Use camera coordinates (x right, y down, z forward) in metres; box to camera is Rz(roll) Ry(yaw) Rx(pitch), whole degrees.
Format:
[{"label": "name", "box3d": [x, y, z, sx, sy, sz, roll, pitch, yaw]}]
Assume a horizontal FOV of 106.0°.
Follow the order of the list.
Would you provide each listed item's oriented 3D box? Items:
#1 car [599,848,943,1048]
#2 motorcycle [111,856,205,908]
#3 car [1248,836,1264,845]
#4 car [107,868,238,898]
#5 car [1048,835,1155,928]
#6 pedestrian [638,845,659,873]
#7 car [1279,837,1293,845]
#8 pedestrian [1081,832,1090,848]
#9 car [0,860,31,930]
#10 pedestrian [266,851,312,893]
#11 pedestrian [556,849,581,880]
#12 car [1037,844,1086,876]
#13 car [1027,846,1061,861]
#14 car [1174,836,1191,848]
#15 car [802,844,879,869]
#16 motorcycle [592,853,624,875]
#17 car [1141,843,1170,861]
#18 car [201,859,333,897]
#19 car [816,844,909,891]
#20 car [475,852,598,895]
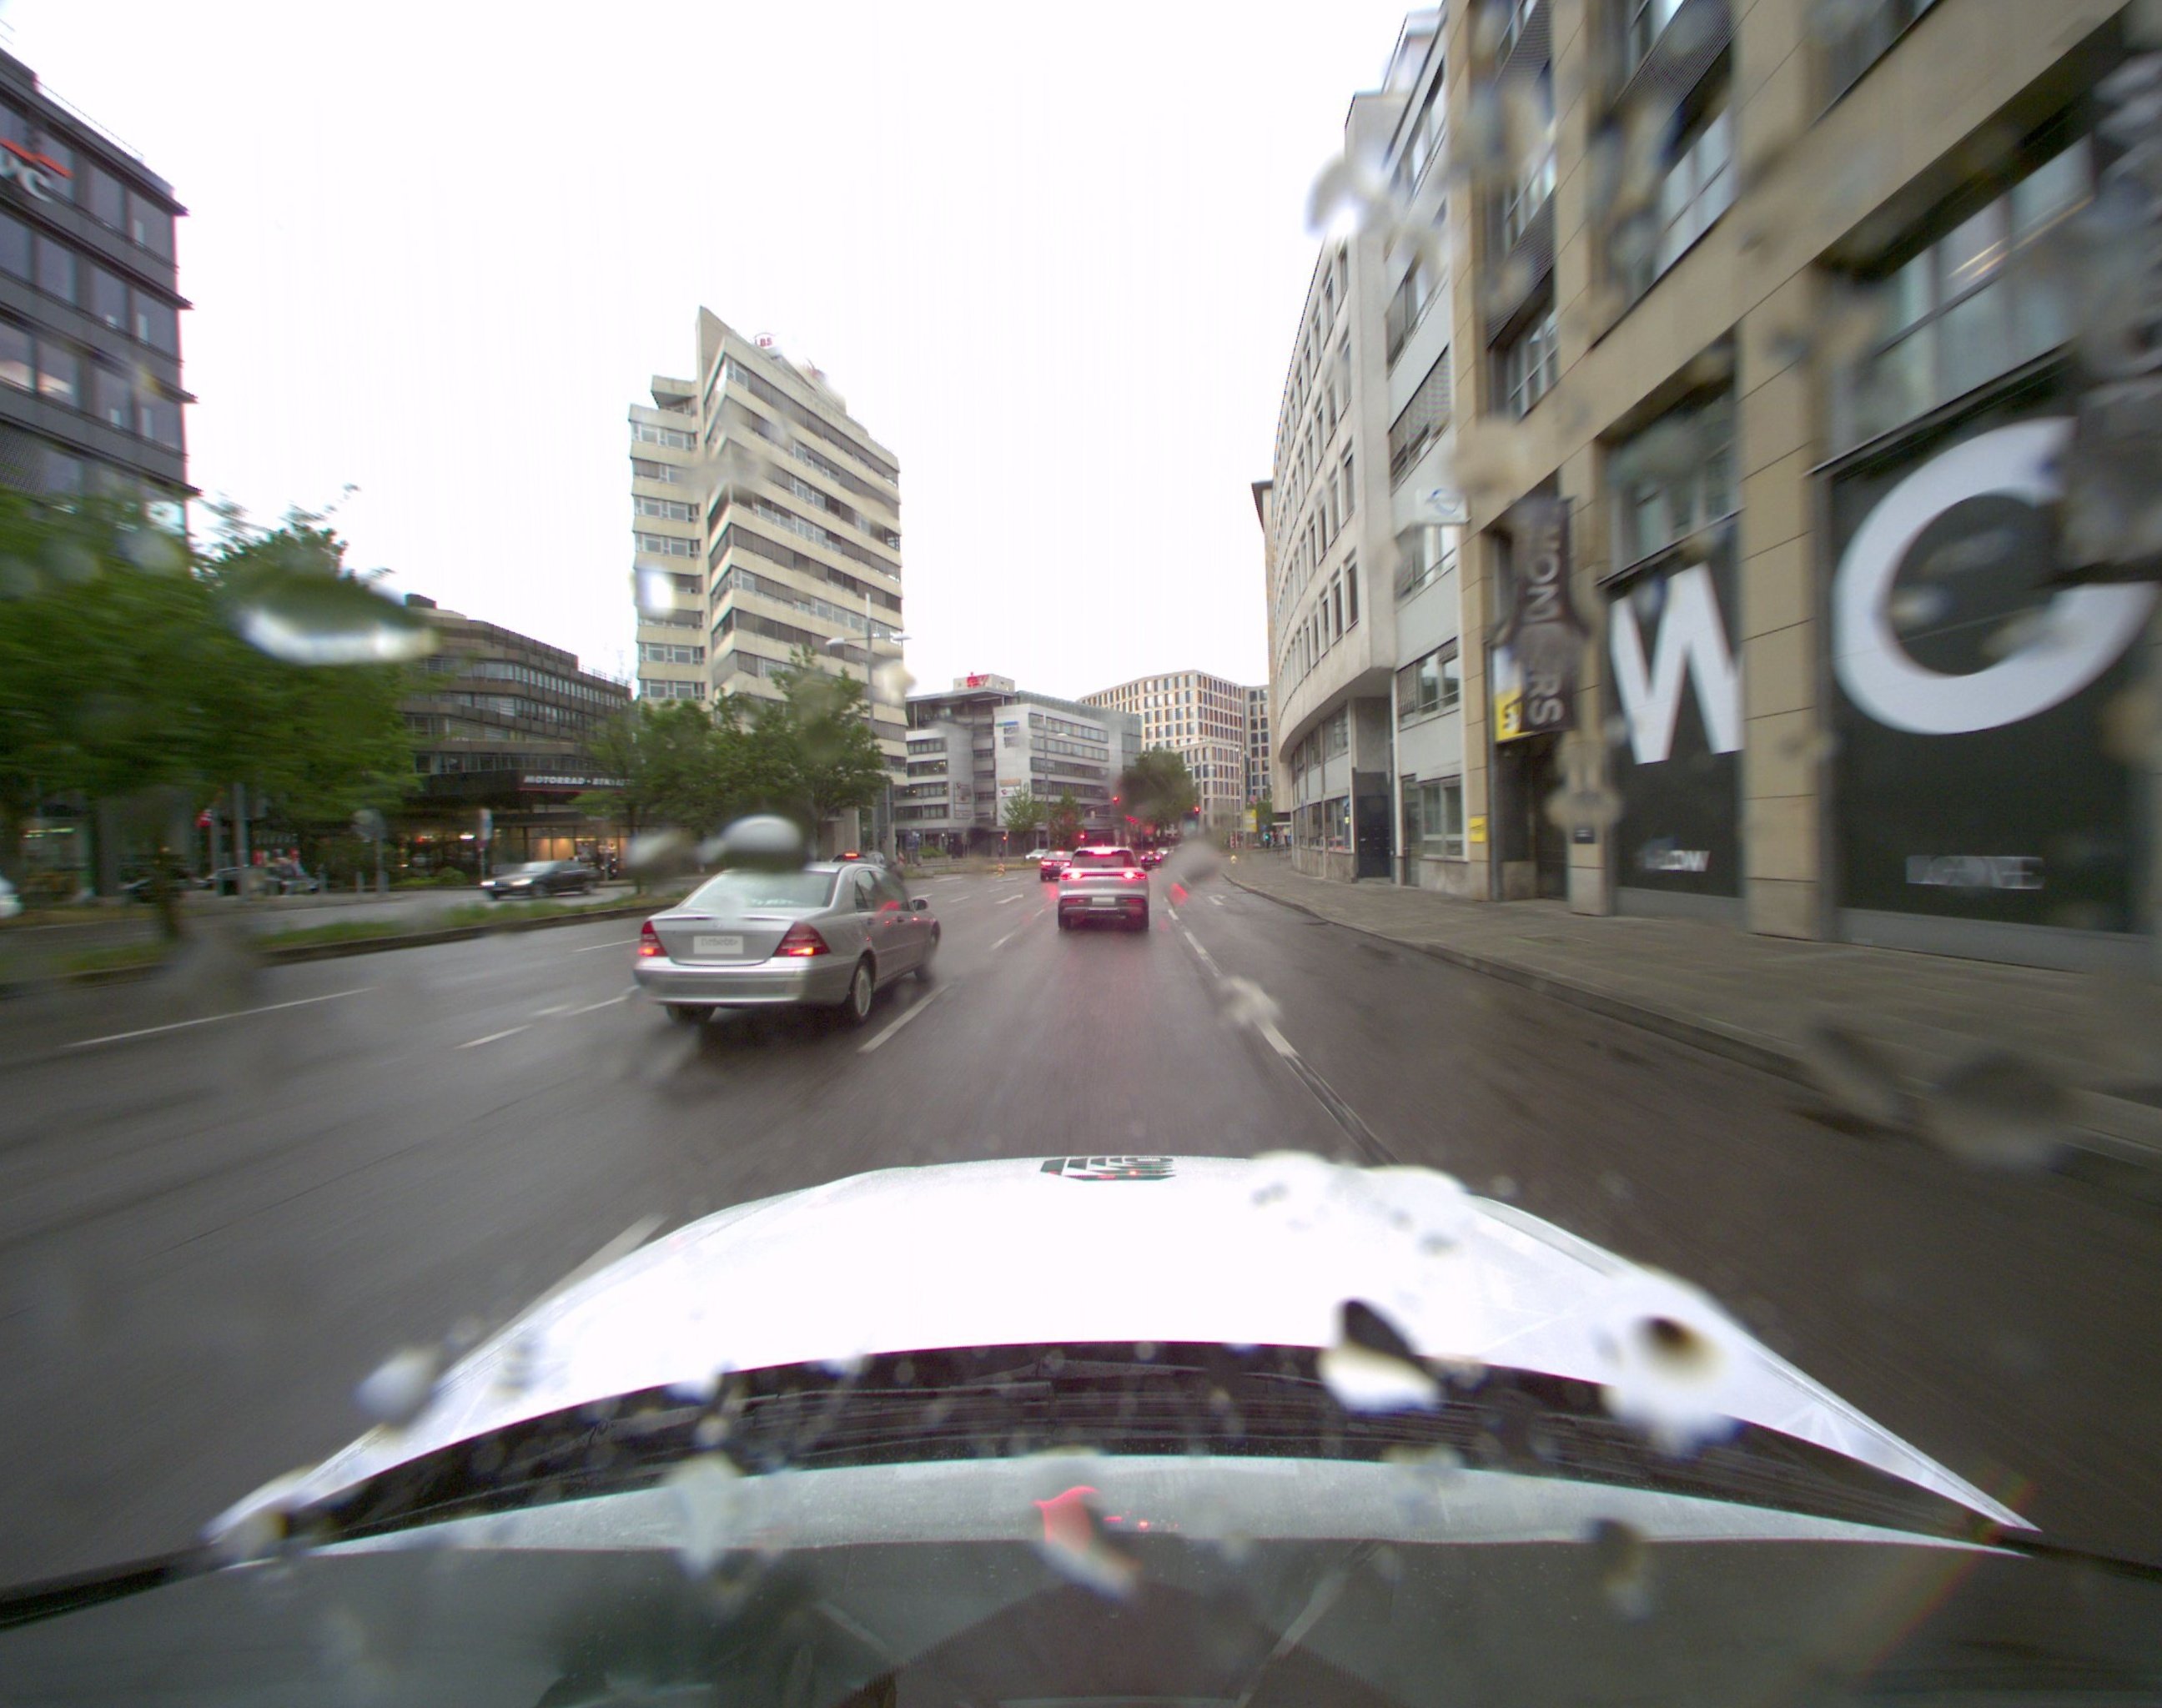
[{"label": "car", "box3d": [-2.704, 0.699, 8.258, 1.675, 1.486, 4.200, -1, 1, 3]}, {"label": "motorcycle", "box3d": [-26.524, 0.773, 23.463, 0.861, 1.394, 2.350, 2, -1, -25]}, {"label": "car", "box3d": [38.025, -2.910, 176.849, 1.974, 1.705, 4.337, 0, 2, 33]}, {"label": "car", "box3d": [-41.628, 1.313, 37.386, 3.972, 1.288, 1.848, 0, 0, 2]}, {"label": "car", "box3d": [0.501, 0.500, 17.547, 1.985, 1.709, 4.486, -1, 1, 3]}, {"label": "pedestrian", "box3d": [-27.811, 0.313, 52.402, 0.721, 1.832, 0.930, -1, 0, 22]}, {"label": "car", "box3d": [49.061, -3.097, 194.633, 1.974, 1.705, 4.337, 0, 2, 33]}, {"label": "pedestrian", "box3d": [0.532, -1.472, 87.738, 0.918, 1.738, 0.730, -1, 0, 1]}, {"label": "car", "box3d": [-24.308, 0.875, 15.698, 1.802, 1.485, 4.775, 2, 0, 2]}, {"label": "pedestrian", "box3d": [-31.097, 0.699, 31.989, 0.781, 1.637, 0.966, -1, 0, 1]}, {"label": "pedestrian", "box3d": [-30.977, 0.637, 49.218, 0.810, 1.832, 0.930, -1, 0, 22]}, {"label": "car", "box3d": [-0.949, 0.280, 41.526, 1.945, 1.530, 4.007, -1, 0, 6]}, {"label": "car", "box3d": [-4.251, -0.077, 93.995, 1.721, 1.728, 4.521, 0, 1, 29]}, {"label": "car", "box3d": [18.661, -2.159, 149.495, 1.721, 2.161, 4.519, 0, 0, 24]}, {"label": "car", "box3d": [-14.301, 0.133, 48.498, 4.098, 1.431, 1.671, -1, 1, -33]}, {"label": "motorcycle", "box3d": [-30.858, 0.631, 53.154, 2.855, 1.374, 0.809, 0, 0, 38]}, {"label": "car", "box3d": [6.781, -0.209, 73.566, 1.941, 1.530, 4.016, 0, 0, 15]}, {"label": "car", "box3d": [-36.852, 1.060, 36.931, 3.972, 1.640, 2.001, 0, 0, 1]}, {"label": "car", "box3d": [-7.811, 0.428, 29.555, 1.986, 1.544, 4.485, -1, 1, 2]}, {"label": "car", "box3d": [-20.553, 0.689, 30.987, 1.803, 1.476, 4.300, -1, 1, -1]}]
